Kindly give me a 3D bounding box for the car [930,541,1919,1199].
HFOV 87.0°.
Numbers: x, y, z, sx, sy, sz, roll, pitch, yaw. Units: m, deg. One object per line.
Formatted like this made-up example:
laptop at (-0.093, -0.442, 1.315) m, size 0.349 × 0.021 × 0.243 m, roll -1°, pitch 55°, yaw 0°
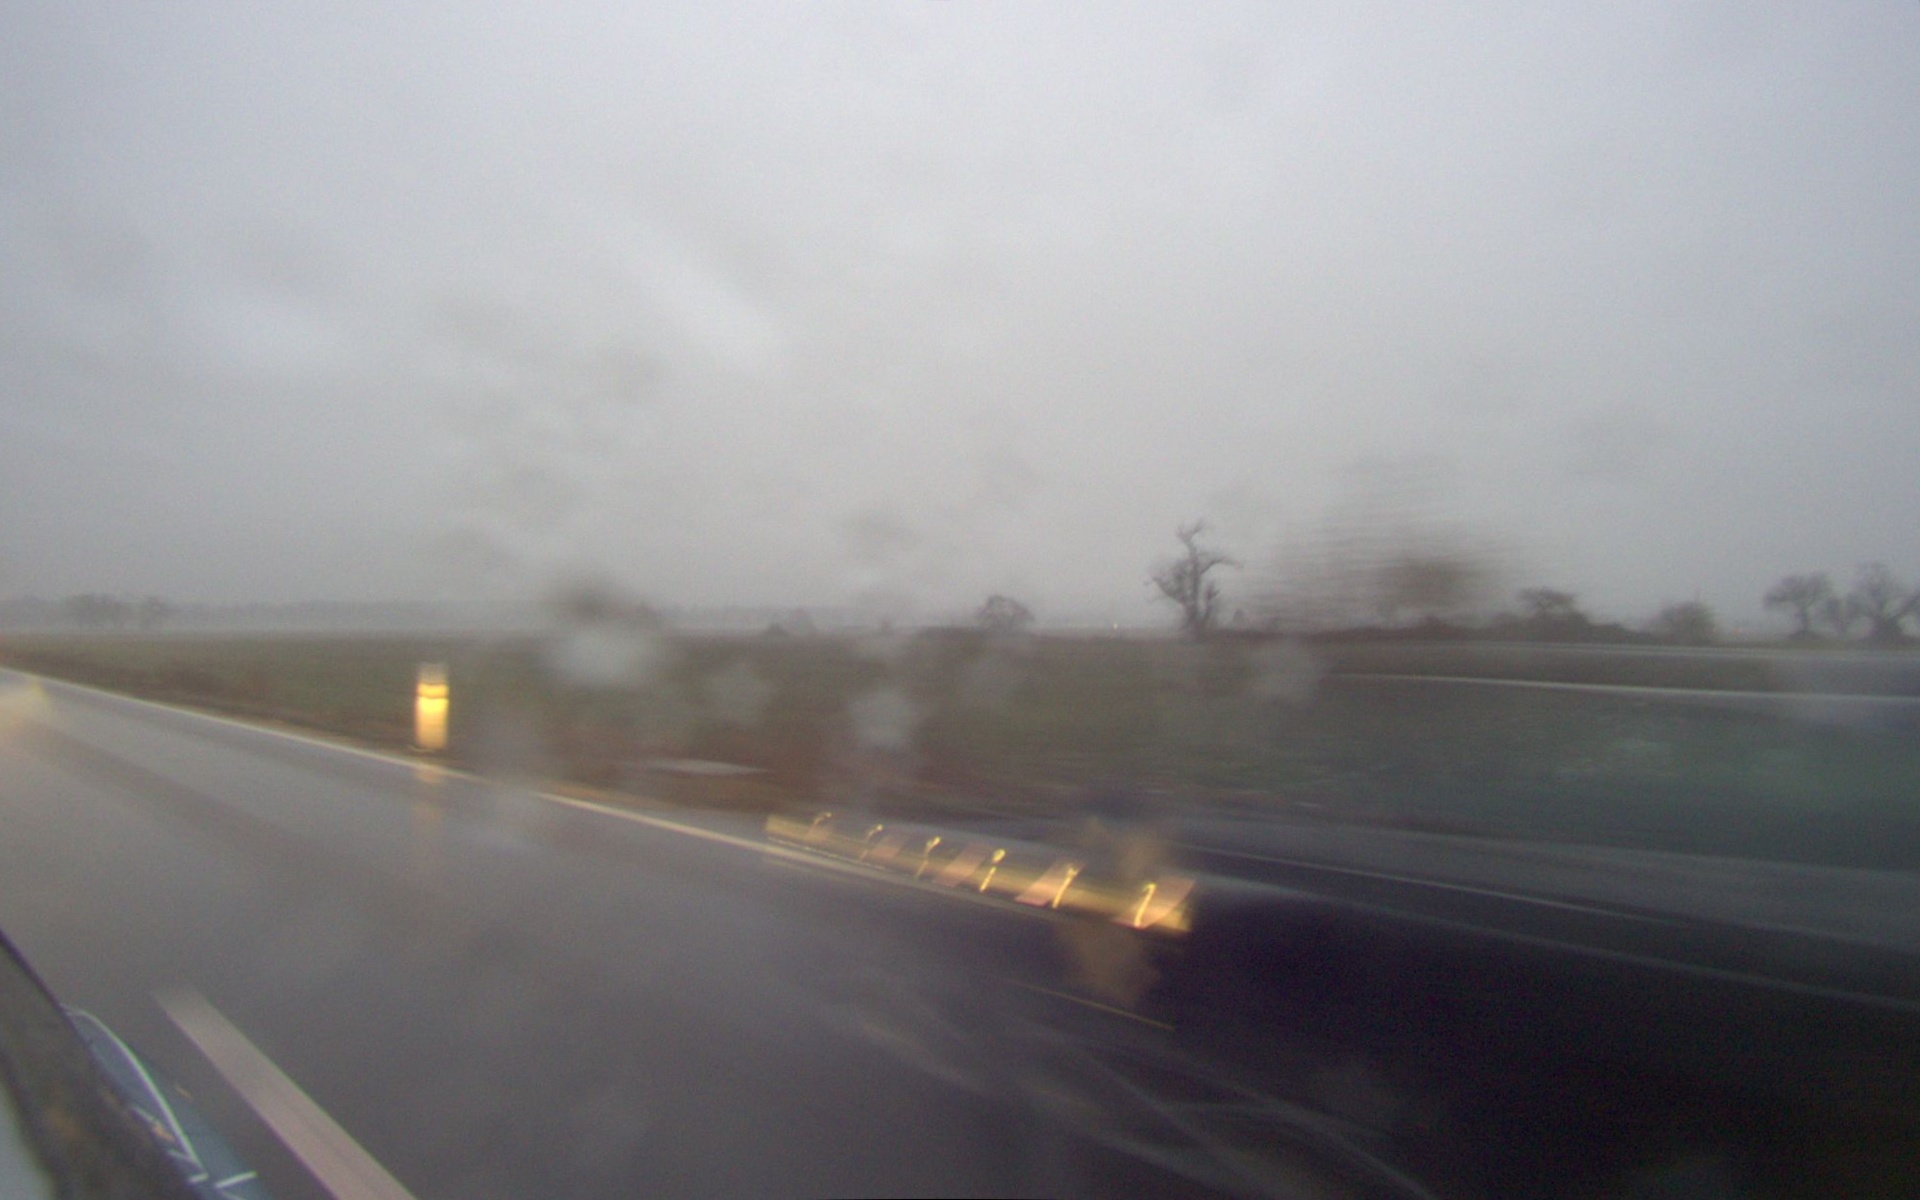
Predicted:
car at (2.217, 0.722, 2.235) m, size 4.350 × 1.474 × 1.973 m, roll -1°, pitch -5°, yaw 41°
